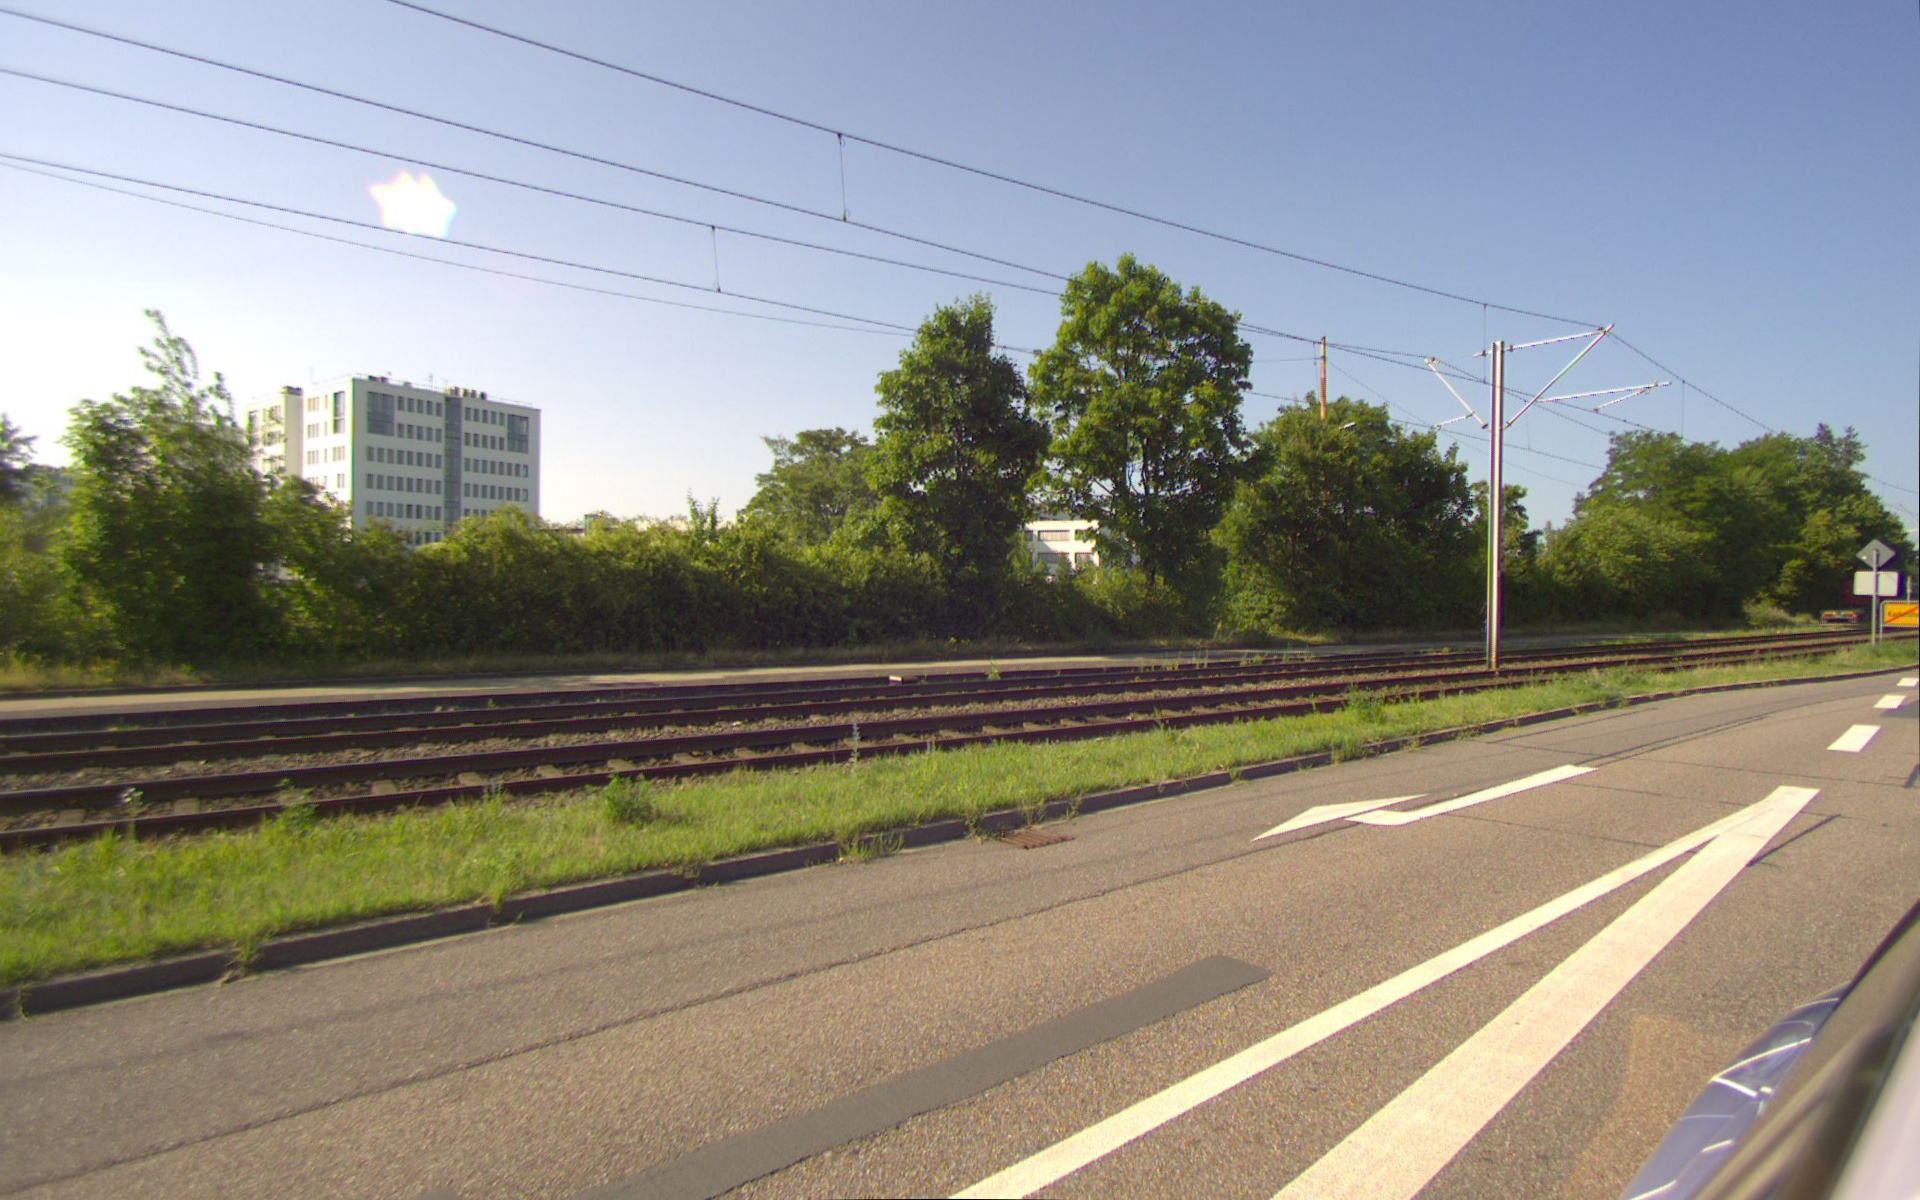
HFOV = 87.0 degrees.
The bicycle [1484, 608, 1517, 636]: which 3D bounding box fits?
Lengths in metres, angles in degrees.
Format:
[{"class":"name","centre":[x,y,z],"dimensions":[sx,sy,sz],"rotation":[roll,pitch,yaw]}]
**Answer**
[{"class":"bicycle","centre":[21.779,0.878,40.782],"dimensions":[1.841,1.060,0.546],"rotation":[0,1,-41]}]

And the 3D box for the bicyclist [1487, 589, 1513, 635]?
[{"class":"bicyclist","centre":[21.765,0.465,40.773],"dimensions":[0.705,1.830,0.707],"rotation":[0,0,-41]}]

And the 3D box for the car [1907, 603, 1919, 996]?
[{"class":"car","centre":[5.751,0.732,4.492],"dimensions":[4.383,1.442,1.819],"rotation":[0,0,-41]}]
